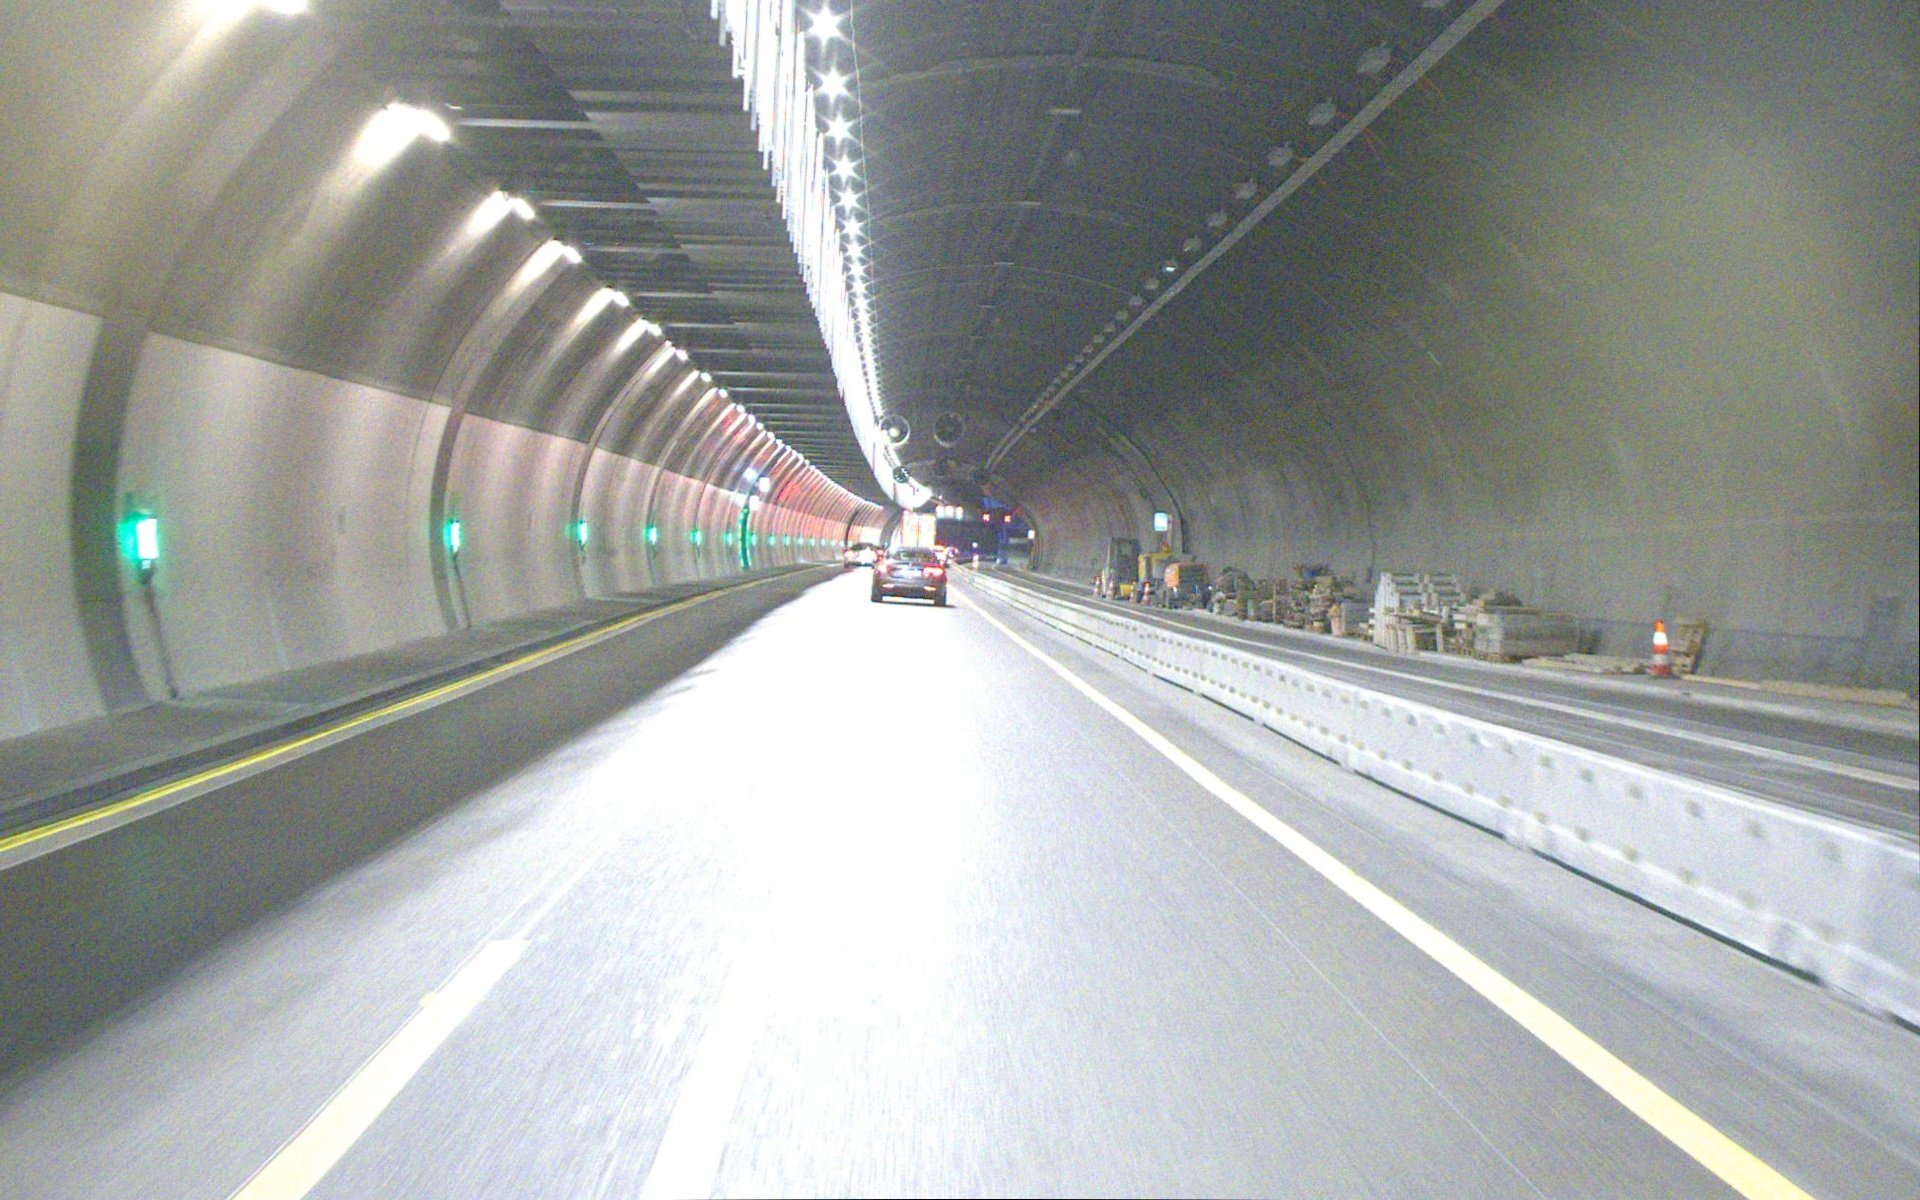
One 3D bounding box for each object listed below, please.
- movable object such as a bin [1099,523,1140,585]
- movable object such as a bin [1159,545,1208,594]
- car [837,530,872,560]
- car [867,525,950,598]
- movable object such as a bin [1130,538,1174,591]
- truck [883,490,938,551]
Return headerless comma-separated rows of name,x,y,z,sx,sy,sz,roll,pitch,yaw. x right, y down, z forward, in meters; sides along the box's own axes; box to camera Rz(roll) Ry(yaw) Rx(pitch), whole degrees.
movable object such as a bin,5.646,-1.639,122.102,1.234,2.133,2.217,2,1,-1
movable object such as a bin,6.742,-0.927,103.948,1.234,1.437,2.217,2,1,-1
car,-6.016,-3.155,196.131,1.930,1.681,4.001,0,1,-2
car,-1.329,-1.000,86.454,1.946,1.788,4.001,0,1,-3
movable object such as a bin,6.431,-1.191,115.263,1.234,1.713,2.217,2,1,-1
truck,-3.822,-6.133,265.752,4.066,4.517,14.966,0,1,-1
